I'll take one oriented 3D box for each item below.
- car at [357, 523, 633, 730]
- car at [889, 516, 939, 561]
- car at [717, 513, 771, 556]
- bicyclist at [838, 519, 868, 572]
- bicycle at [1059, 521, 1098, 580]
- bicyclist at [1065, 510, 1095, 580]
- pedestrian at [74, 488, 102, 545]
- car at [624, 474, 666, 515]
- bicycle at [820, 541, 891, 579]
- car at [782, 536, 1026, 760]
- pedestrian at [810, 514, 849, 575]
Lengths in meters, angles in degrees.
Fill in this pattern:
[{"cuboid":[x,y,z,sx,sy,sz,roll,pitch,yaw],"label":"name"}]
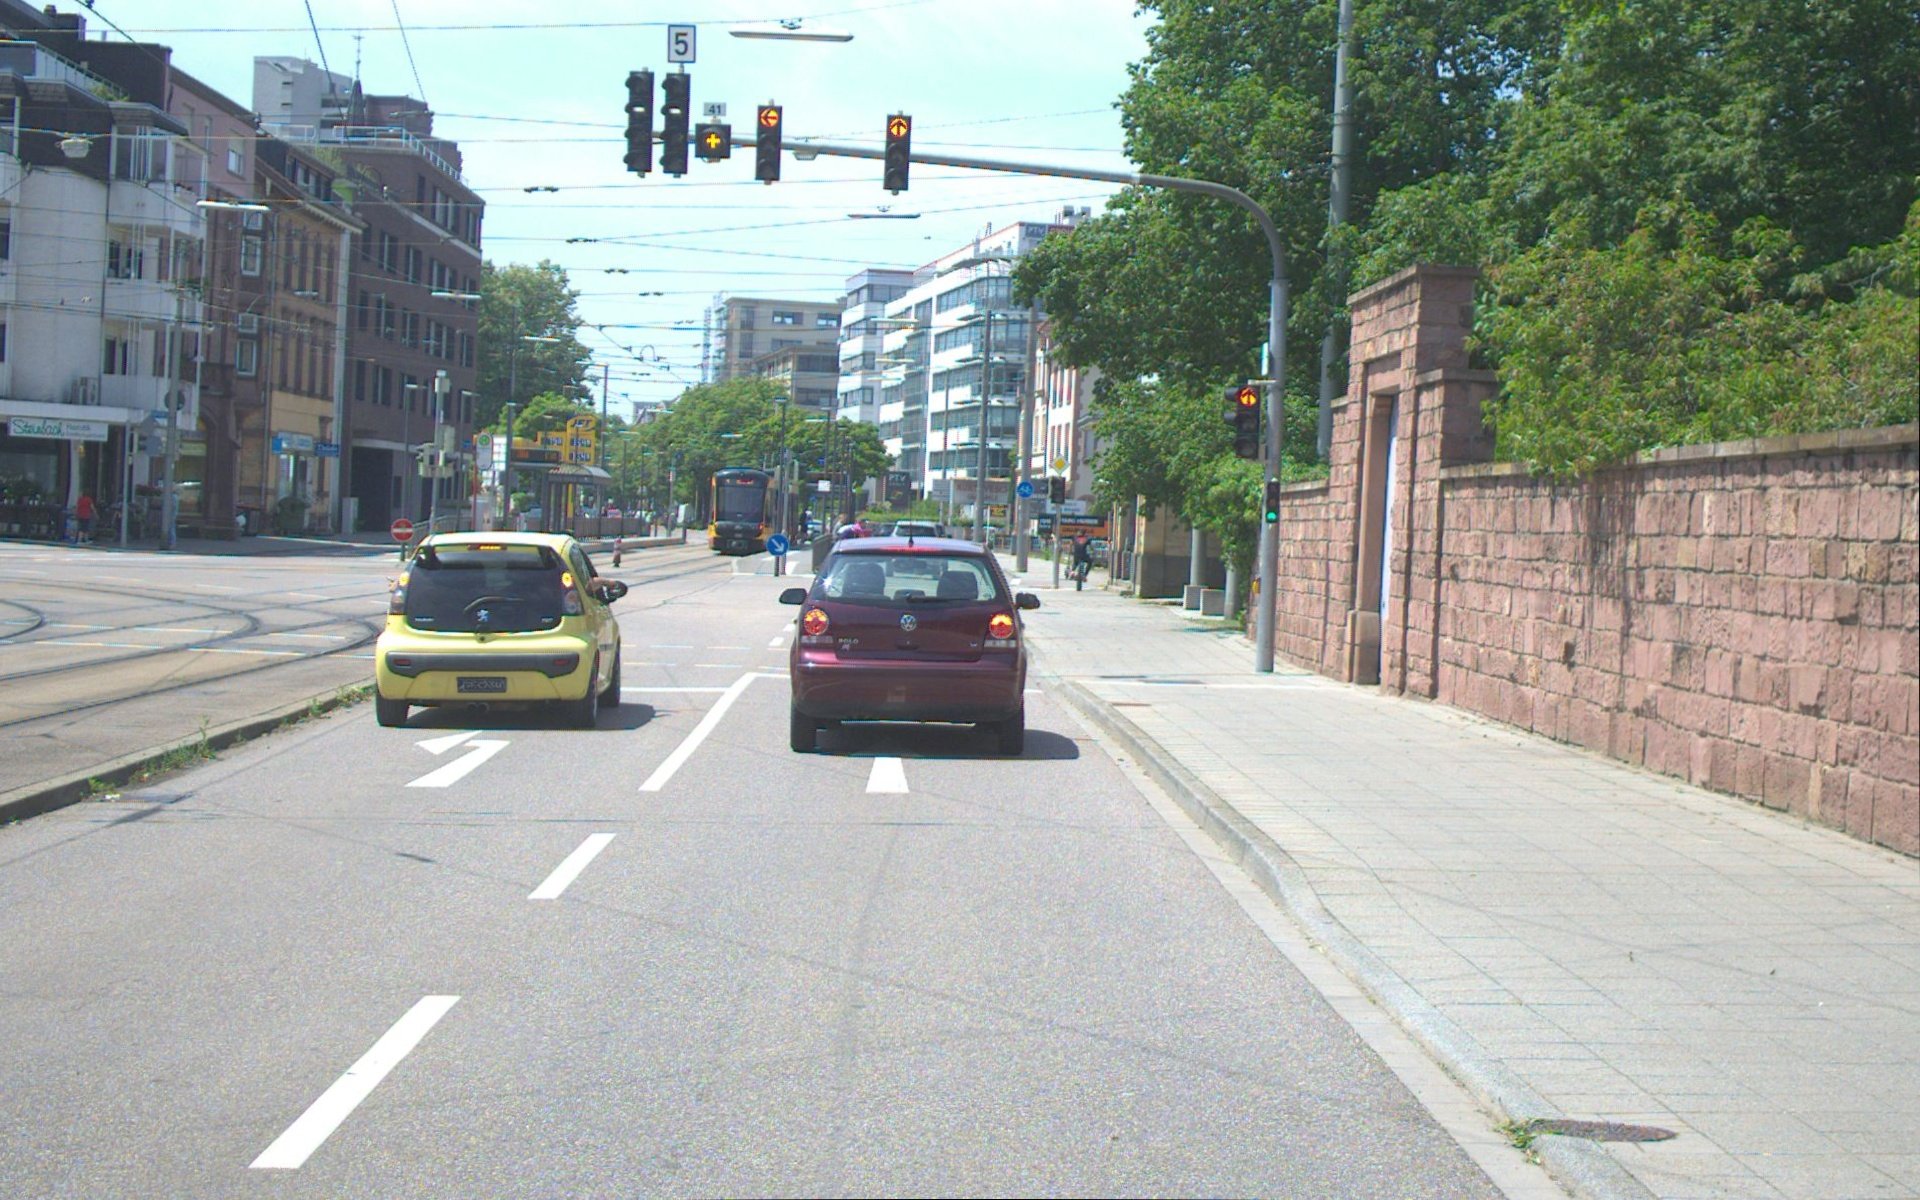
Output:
[{"cuboid":[-3.512,0.154,26.463,1.723,1.440,3.293,1,2,-1],"label":"car"},{"cuboid":[-1.489,-1.989,111.025,1.572,1.411,3.720,0,1,-1],"label":"car"},{"cuboid":[-8.685,-2.636,138.505,1.938,1.635,4.000,1,1,-1],"label":"car"},{"cuboid":[-2.888,-1.475,92.729,0.765,1.401,0.506,1,0,-4],"label":"bicyclist"},{"cuboid":[3.136,-1.294,91.188,0.835,1.520,4.000,1,1,0],"label":"bicycle"},{"cuboid":[3.134,-1.439,89.991,0.721,1.812,0.888,1,0,0],"label":"bicyclist"},{"cuboid":[-23.687,-2.259,93.381,0.484,1.535,0.537,1,0,34],"label":"pedestrian"},{"cuboid":[-16.076,-5.359,175.758,1.735,2.007,4.000,2,1,0],"label":"car"},{"cuboid":[-2.815,-1.079,92.732,1.865,1.004,0.579,1,0,-5],"label":"bicycle"},{"cuboid":[-0.405,0.280,24.751,1.610,1.458,4.086,0,1,-1],"label":"car"},{"cuboid":[-3.609,-1.533,94.885,0.981,1.655,0.919,2,1,-4],"label":"pedestrian"}]
